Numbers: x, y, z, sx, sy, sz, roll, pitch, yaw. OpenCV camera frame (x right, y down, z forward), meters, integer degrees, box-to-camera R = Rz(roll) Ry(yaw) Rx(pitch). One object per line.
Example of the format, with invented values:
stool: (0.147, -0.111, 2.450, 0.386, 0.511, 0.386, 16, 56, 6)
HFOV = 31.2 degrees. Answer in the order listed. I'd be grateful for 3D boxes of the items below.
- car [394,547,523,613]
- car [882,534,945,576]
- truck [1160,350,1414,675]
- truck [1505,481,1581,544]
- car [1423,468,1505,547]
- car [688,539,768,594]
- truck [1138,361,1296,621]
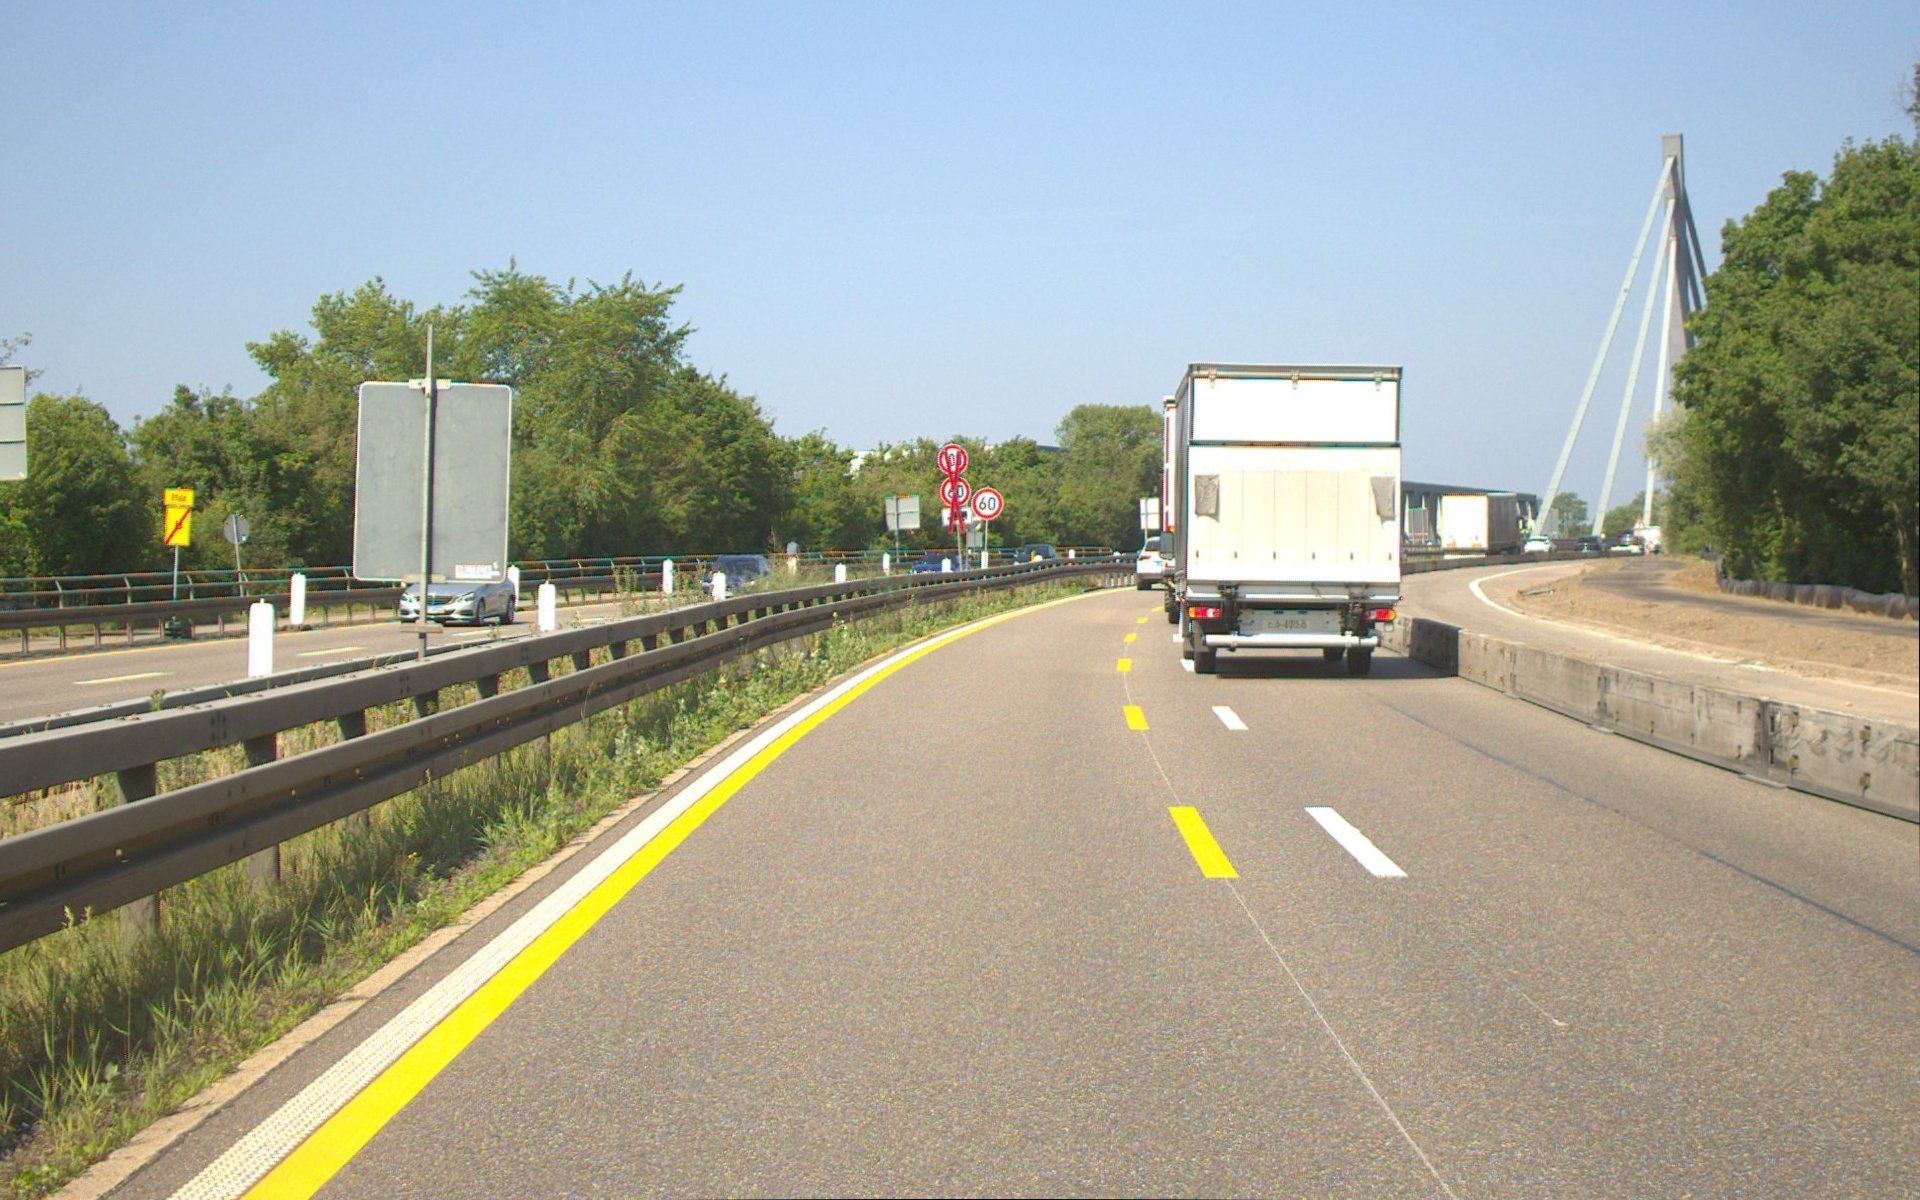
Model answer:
car: (-11.561, -0.481, 79.554, 1.885, 1.415, 4.859, -1, 1, 5)
car: (-1.775, -1.748, 132.950, 1.994, 1.546, 3.999, -1, 1, 5)
truck: (3.716, -1.003, 40.075, 2.634, 3.416, 7.232, 1, 1, 4)
truck: (42.191, -6.353, 248.441, 4.223, 4.252, 10.234, -2, 1, 16)
car: (29.019, -5.332, 197.513, 4.209, 4.237, 10.658, -2, 1, 10)
car: (-6.518, -0.964, 96.979, 1.738, 1.493, 4.000, -1, 1, 3)
truck: (4.633, -1.964, 63.143, 2.634, 4.453, 7.232, 1, 1, 3)
